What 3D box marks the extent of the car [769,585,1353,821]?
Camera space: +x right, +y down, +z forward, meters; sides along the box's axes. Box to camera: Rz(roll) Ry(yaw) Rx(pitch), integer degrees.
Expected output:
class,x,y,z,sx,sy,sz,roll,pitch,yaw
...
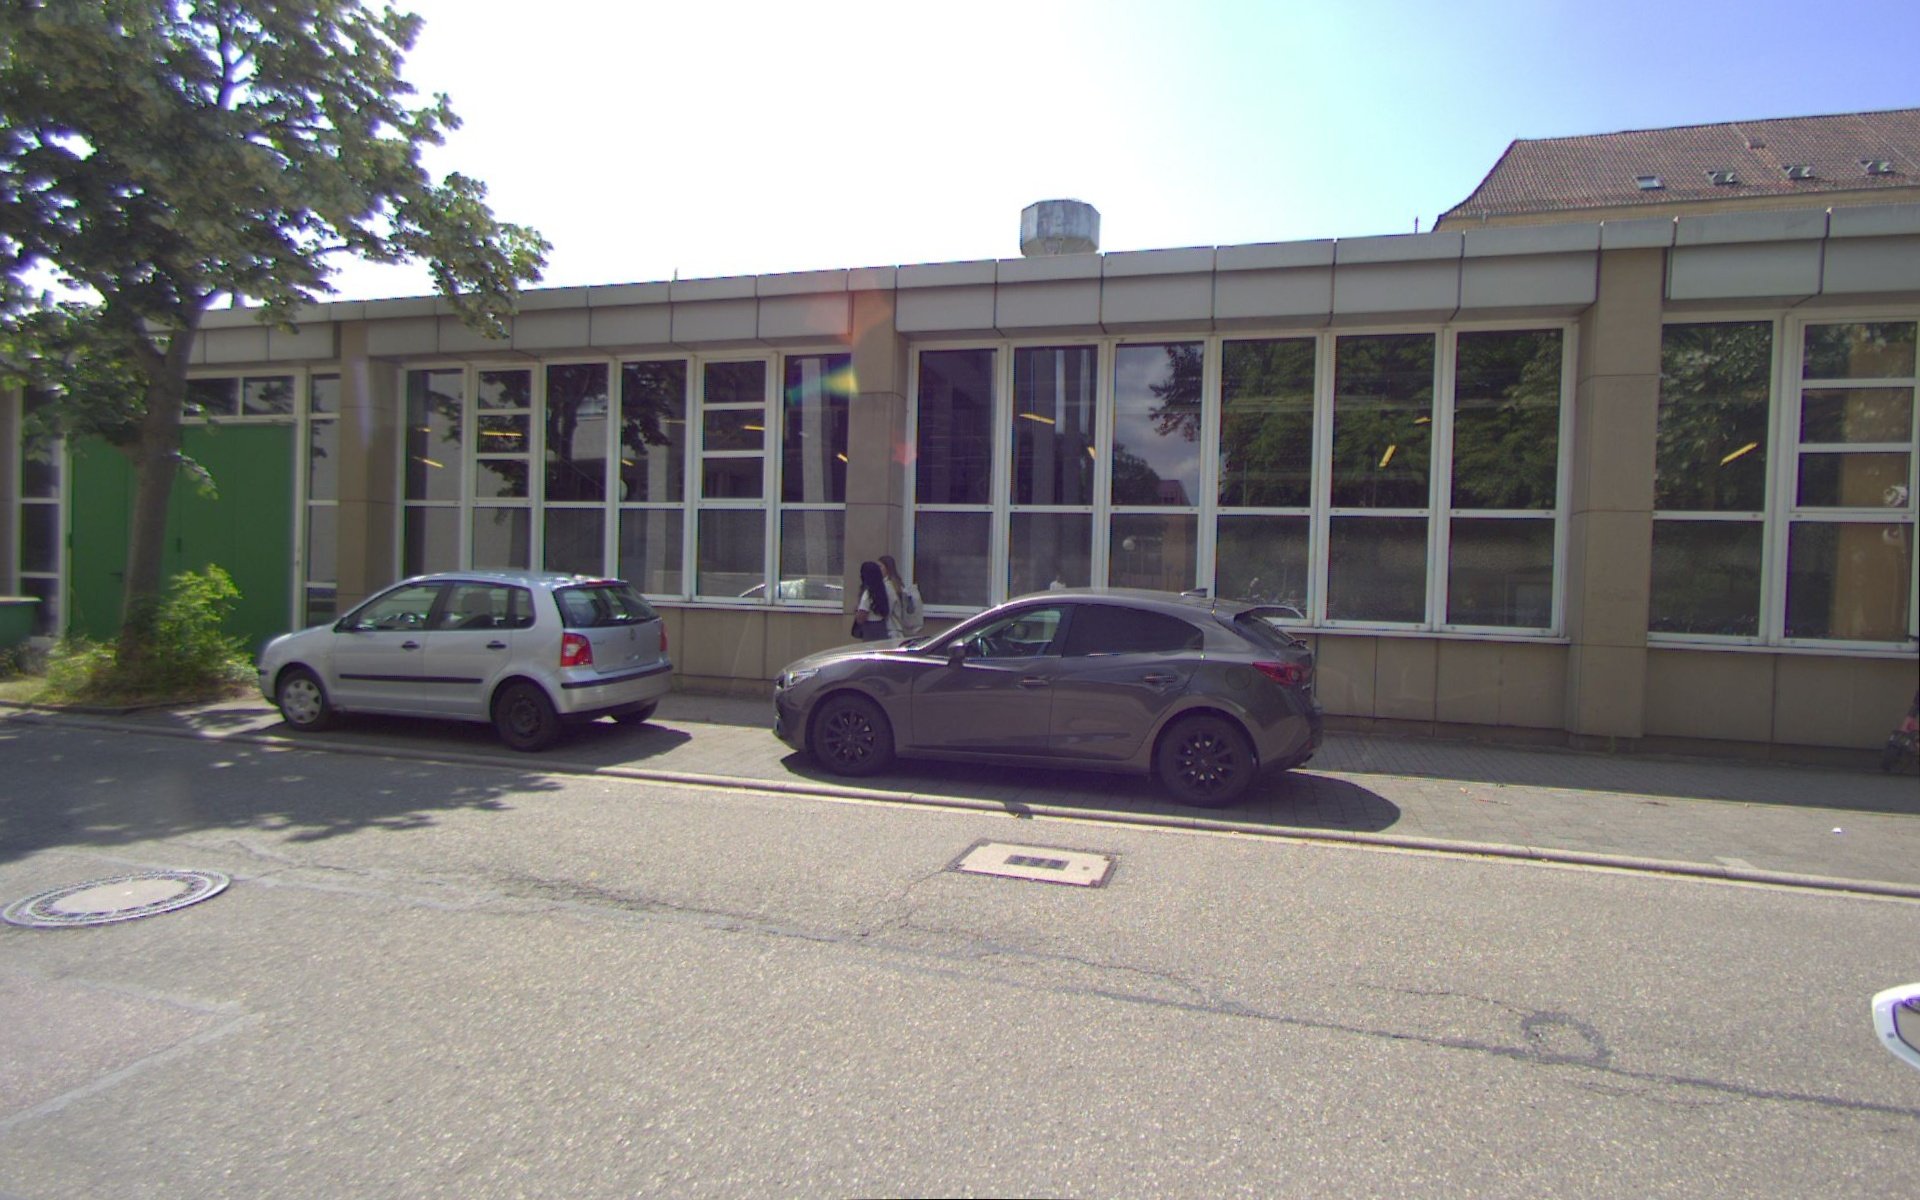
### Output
class,x,y,z,sx,sy,sz,roll,pitch,yaw
car,0.779,0.659,8.019,4.203,1.455,1.731,1,2,16

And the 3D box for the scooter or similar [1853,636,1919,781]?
class,x,y,z,sx,sy,sz,roll,pitch,yaw
scooter or similar,8.637,0.952,8.726,1.221,1.224,0.384,1,3,15

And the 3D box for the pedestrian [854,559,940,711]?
class,x,y,z,sx,sy,sz,roll,pitch,yaw
pedestrian,-0.673,0.362,10.856,0.781,1.562,0.664,2,1,6

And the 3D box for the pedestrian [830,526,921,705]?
class,x,y,z,sx,sy,sz,roll,pitch,yaw
pedestrian,-0.849,0.148,10.248,0.781,1.751,0.602,2,1,6

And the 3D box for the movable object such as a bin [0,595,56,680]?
class,x,y,z,sx,sy,sz,roll,pitch,yaw
movable object such as a bin,-12.494,0.462,12.397,1.662,0.998,1.296,1,2,17

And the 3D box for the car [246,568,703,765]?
class,x,y,z,sx,sy,sz,roll,pitch,yaw
car,-4.462,0.498,9.383,3.677,1.469,1.635,2,3,16
